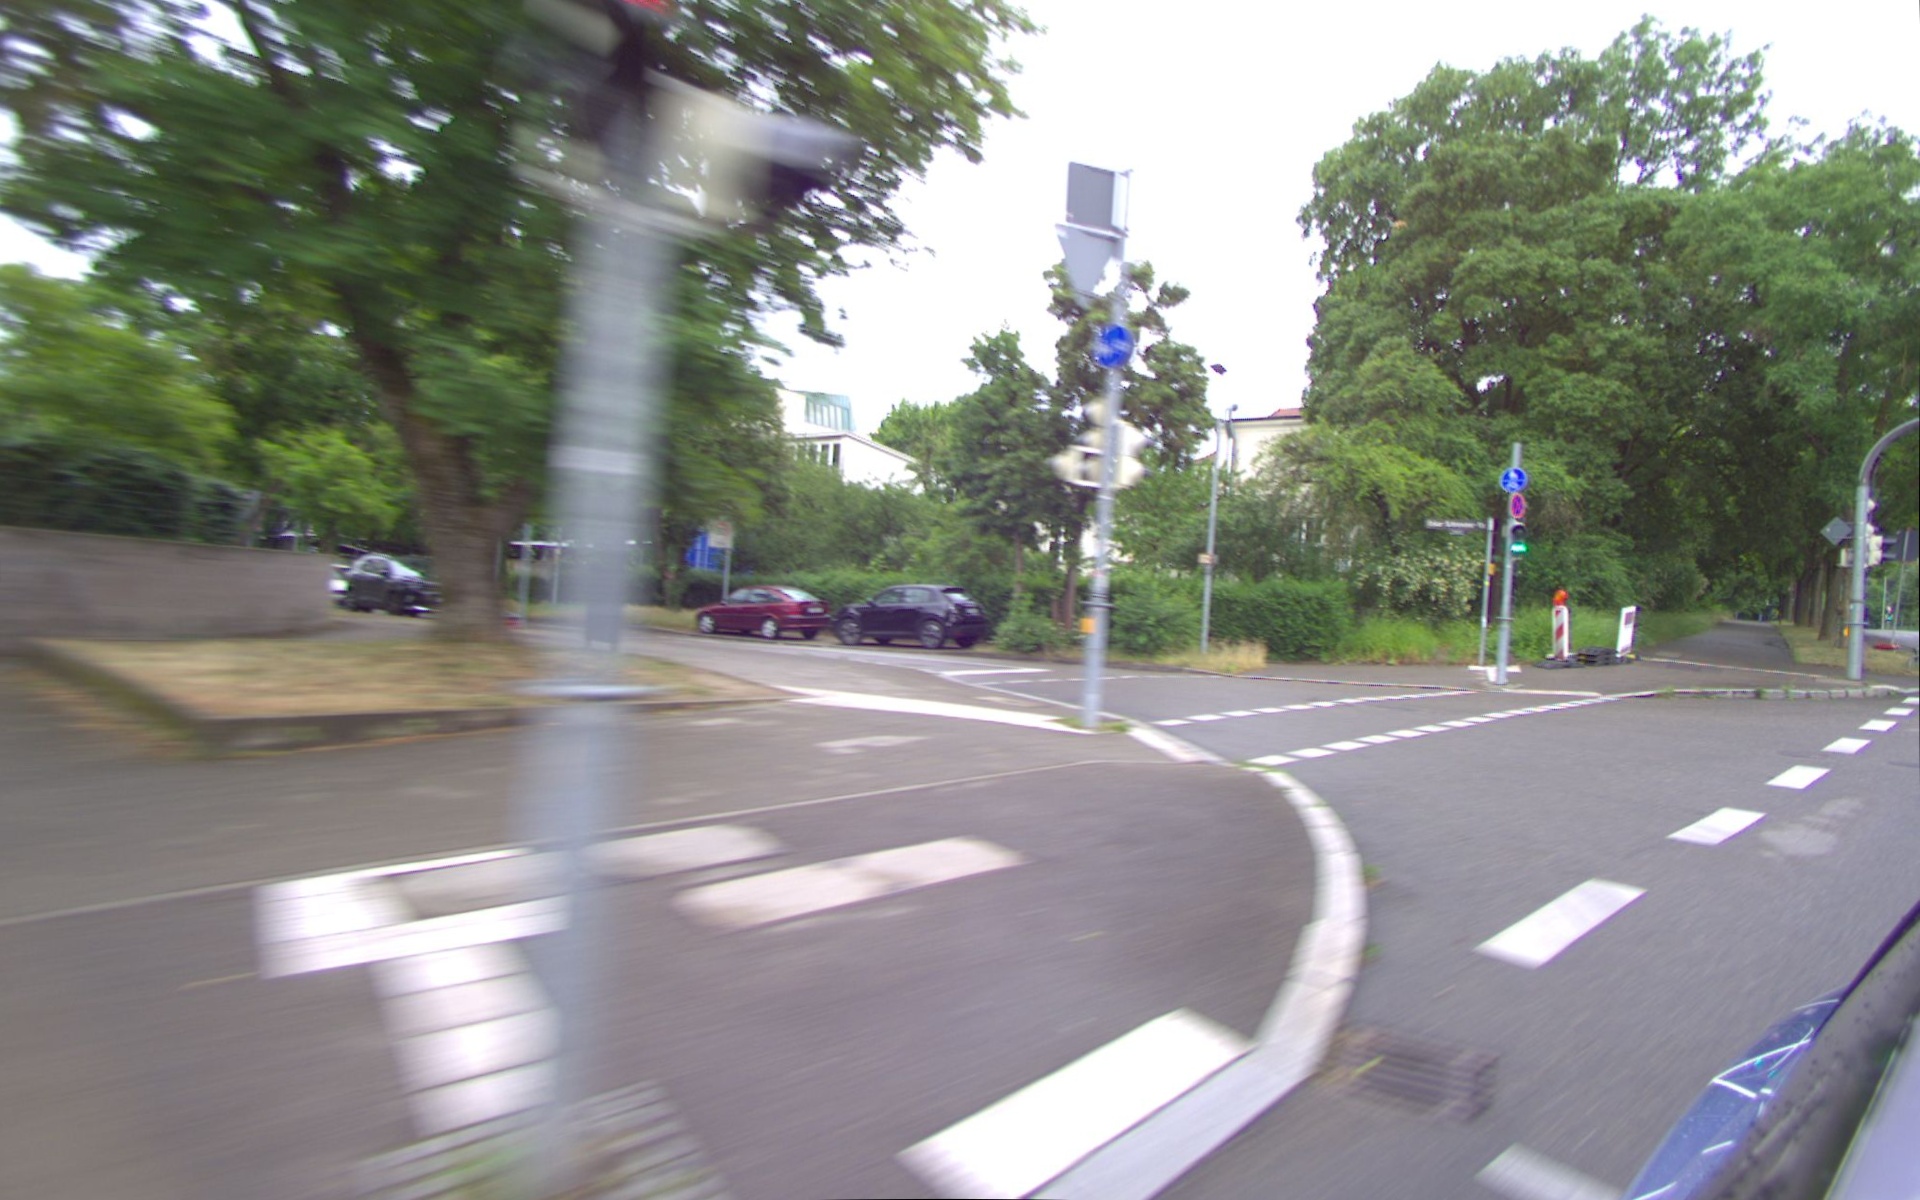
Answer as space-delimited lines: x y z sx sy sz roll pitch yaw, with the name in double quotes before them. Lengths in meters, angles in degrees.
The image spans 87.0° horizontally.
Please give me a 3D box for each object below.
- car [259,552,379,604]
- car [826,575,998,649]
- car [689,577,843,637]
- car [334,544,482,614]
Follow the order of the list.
"car" -19.056 -0.663 30.043 3.975 1.356 1.611 3 2 35
"car" -1.218 0.243 25.108 3.877 1.567 1.860 3 2 33
"car" -5.399 0.144 27.987 4.077 1.411 1.824 3 2 34
"car" -14.667 -0.596 26.849 3.975 1.654 1.861 3 2 35
